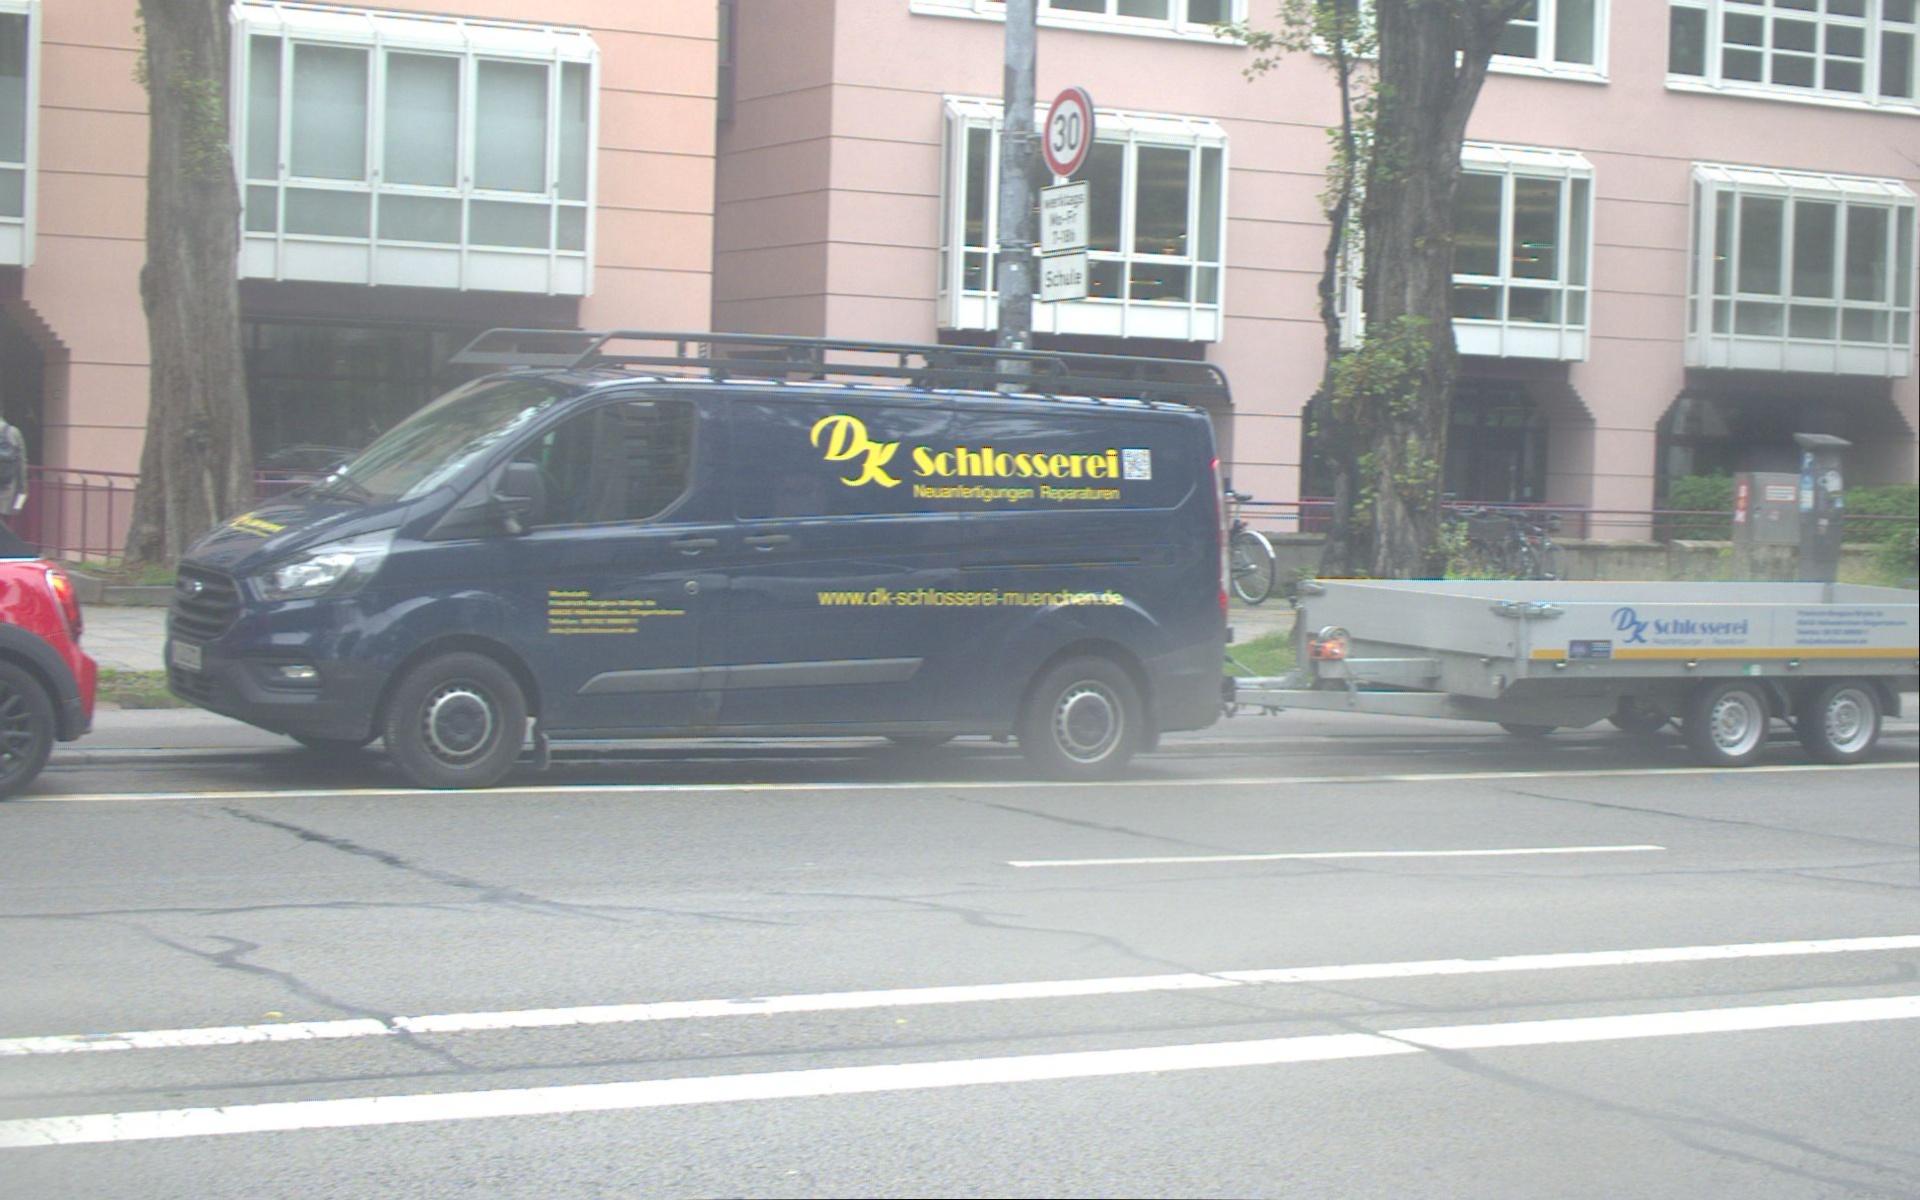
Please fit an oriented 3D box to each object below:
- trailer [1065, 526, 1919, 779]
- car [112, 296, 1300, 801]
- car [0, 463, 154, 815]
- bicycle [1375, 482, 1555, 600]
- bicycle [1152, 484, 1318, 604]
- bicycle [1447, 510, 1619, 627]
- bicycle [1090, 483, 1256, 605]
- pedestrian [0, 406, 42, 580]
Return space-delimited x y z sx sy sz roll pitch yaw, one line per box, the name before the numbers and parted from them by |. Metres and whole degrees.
trailer | 3.832 0.263 19.825 6.017 1.195 2.405 0 3 -28
car | -1.199 -0.257 17.071 5.478 2.189 2.024 0 3 -28
car | -5.535 0.119 14.499 3.860 1.443 1.679 1 3 -26
bicycle | 5.167 -0.615 35.311 0.674 1.120 2.107 0 3 -28
bicycle | 2.741 -0.574 34.512 0.674 1.120 1.989 0 3 -28
bicycle | 5.974 -0.345 35.937 0.674 1.120 1.989 0 3 -28
bicycle | 2.099 -0.570 34.177 0.674 1.120 1.989 0 3 -28
pedestrian | -9.549 -1.073 34.099 0.707 1.707 0.732 1 2 -25
